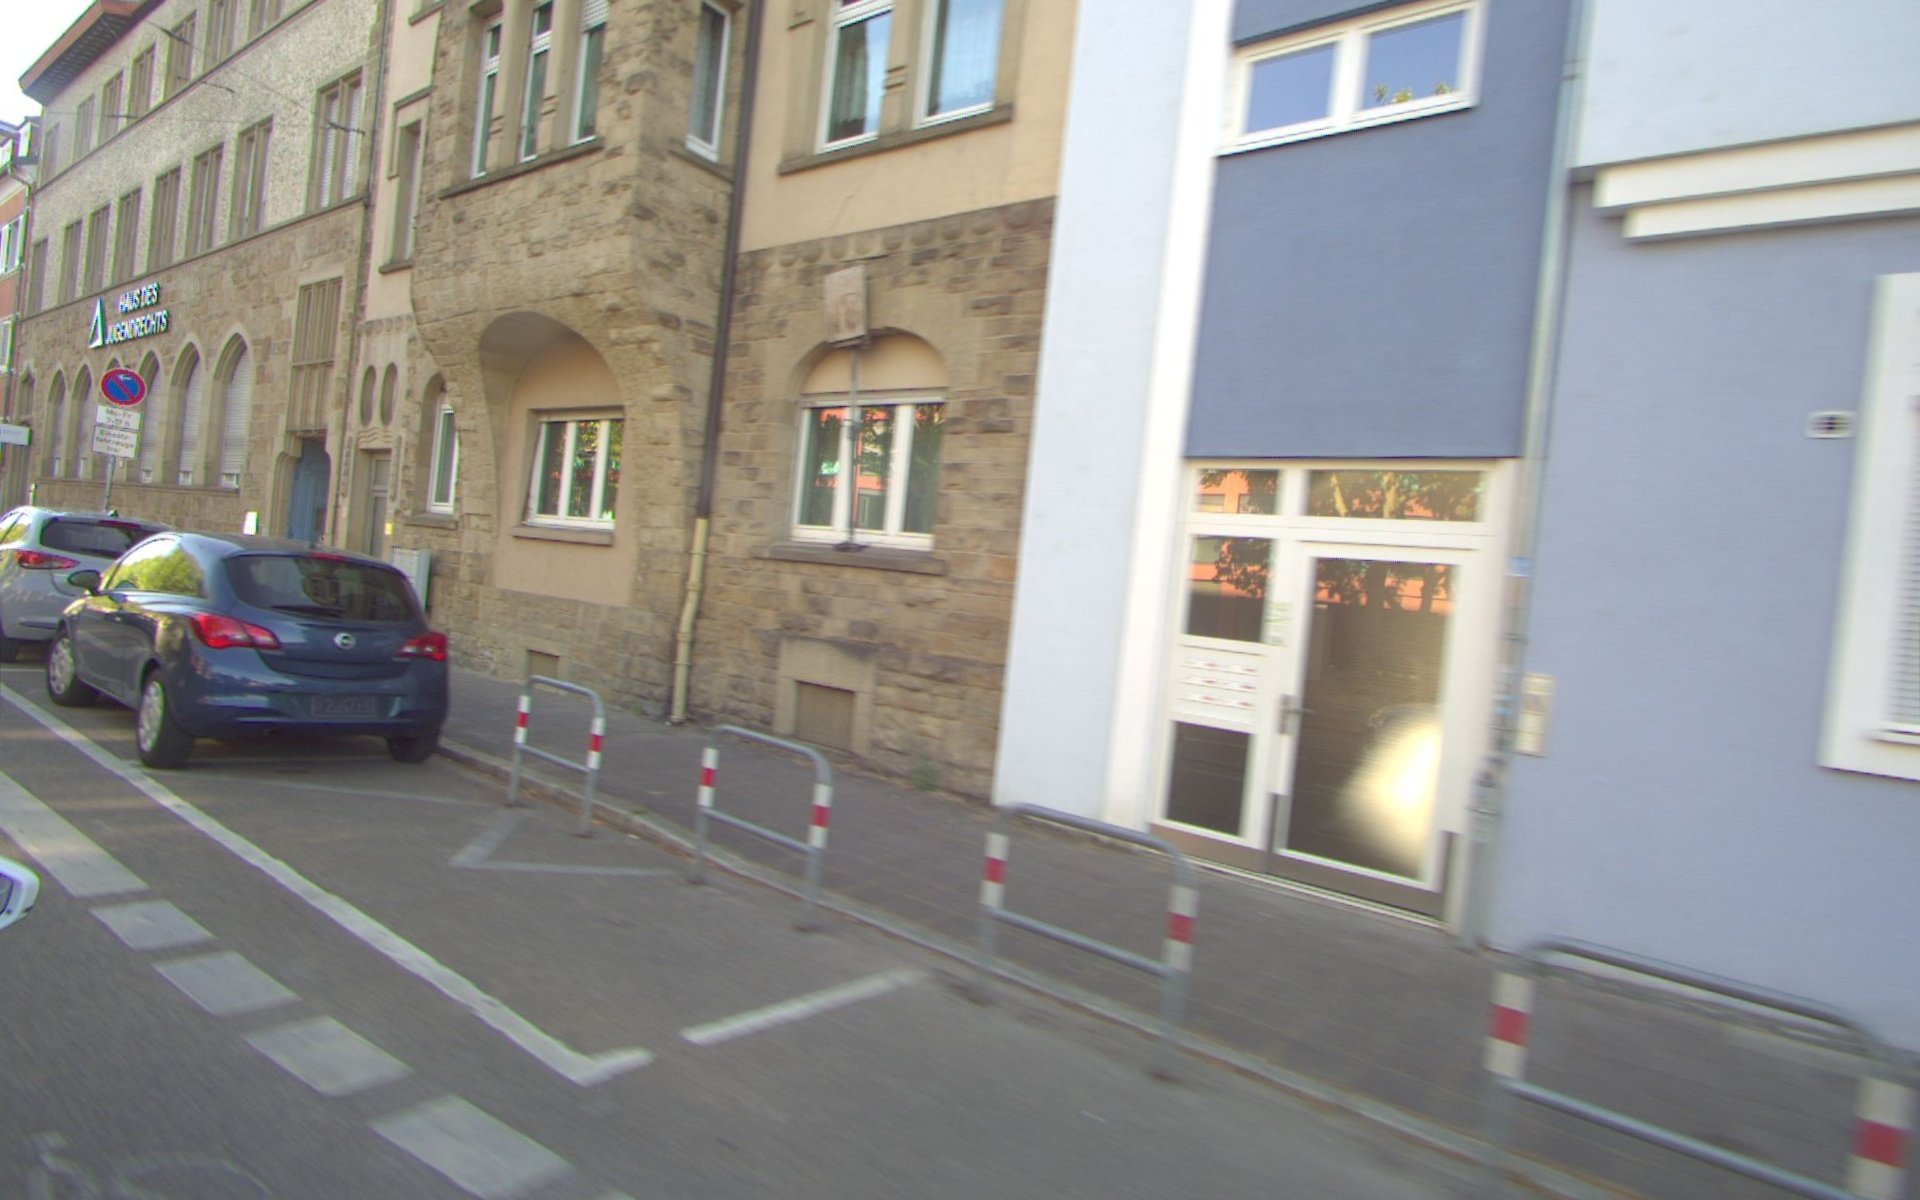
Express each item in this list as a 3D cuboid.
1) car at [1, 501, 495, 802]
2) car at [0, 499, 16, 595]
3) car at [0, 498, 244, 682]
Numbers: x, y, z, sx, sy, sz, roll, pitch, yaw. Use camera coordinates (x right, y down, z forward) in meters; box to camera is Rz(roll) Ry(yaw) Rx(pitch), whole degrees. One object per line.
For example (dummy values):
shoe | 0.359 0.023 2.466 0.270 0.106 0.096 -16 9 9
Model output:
car | -5.223 0.233 7.201 3.939 1.500 1.655 6 -1 37
car | -17.385 -1.111 16.710 4.162 1.518 1.714 6 -2 37
car | -9.409 -0.204 10.687 4.134 1.518 1.753 6 -2 39
